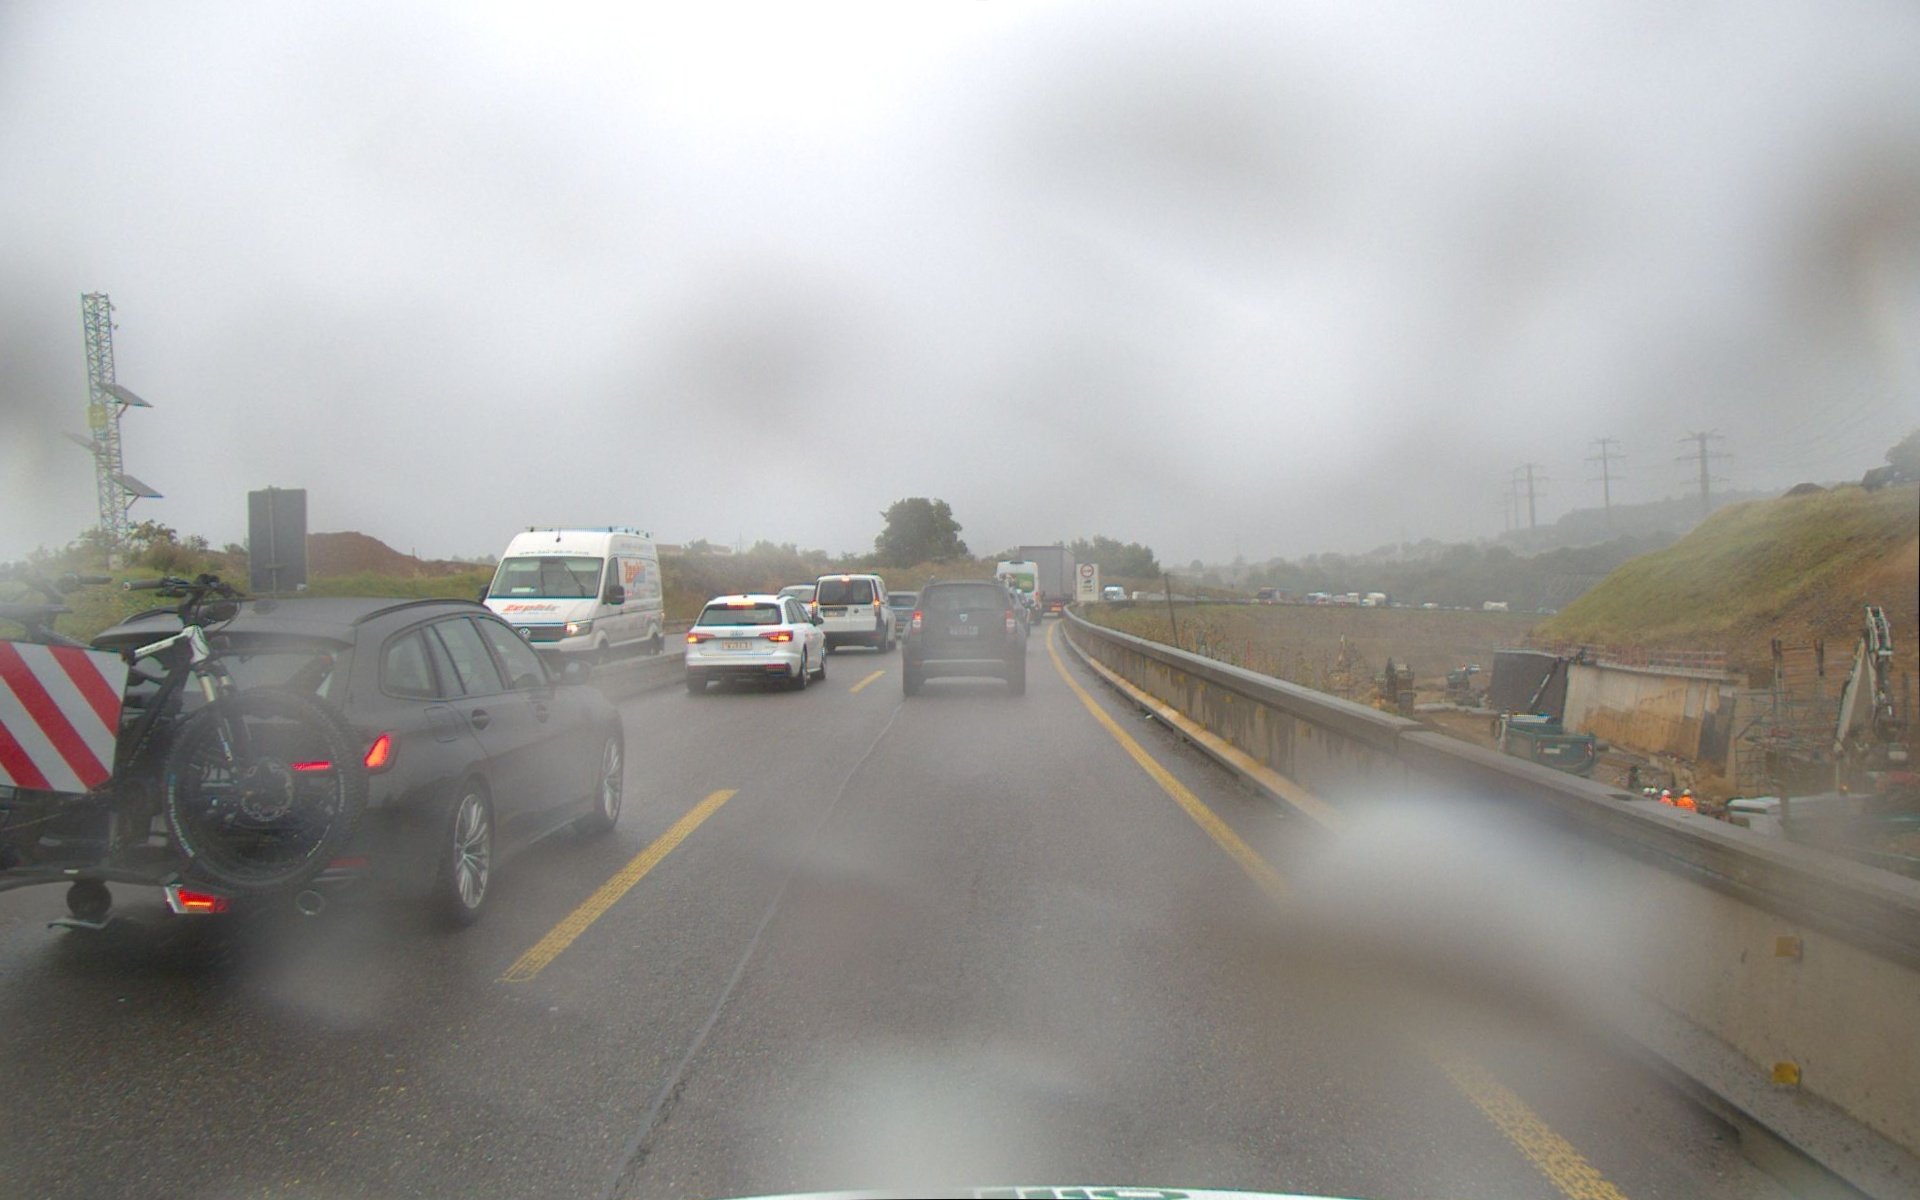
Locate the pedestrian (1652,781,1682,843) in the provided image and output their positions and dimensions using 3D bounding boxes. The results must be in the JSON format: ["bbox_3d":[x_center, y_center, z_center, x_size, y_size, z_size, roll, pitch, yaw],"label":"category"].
[{"bbox_3d":[23.555,7.059,55.120,0.566,1.978,0.729,1,-1,-25],"label":"pedestrian"}]

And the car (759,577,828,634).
[{"bbox_3d":[-5.357,0.154,53.600,1.753,1.754,4.288,0,0,1],"label":"car"}]

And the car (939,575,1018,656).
[{"bbox_3d":[0.473,0.364,40.001,1.788,1.847,4.000,0,-1,1],"label":"car"}]

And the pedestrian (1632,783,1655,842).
[{"bbox_3d":[23.077,7.161,55.876,0.561,1.902,0.736,0,-1,9],"label":"pedestrian"}]

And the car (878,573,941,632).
[{"bbox_3d":[-1.620,0.104,54.135,1.788,1.847,4.001,0,-1,2],"label":"car"}]

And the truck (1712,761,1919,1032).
[{"bbox_3d":[15.877,4.830,27.119,2.645,3.565,8.942,0,-1,-3],"label":"truck"}]

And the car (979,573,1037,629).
[{"bbox_3d":[1.672,0.043,56.614,1.788,1.847,4.002,0,-1,4],"label":"car"}]

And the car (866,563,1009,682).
[{"bbox_3d":[-0.253,0.328,24.719,1.788,1.619,4.002,0,-1,4],"label":"car"}]

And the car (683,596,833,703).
[{"bbox_3d":[-3.058,0.735,25.776,1.789,1.525,4.000,0,-1,0],"label":"car"}]

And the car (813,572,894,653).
[{"bbox_3d":[-2.520,0.310,39.922,1.789,1.847,3.999,0,-1,-1],"label":"car"}]

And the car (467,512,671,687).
[{"bbox_3d":[-6.402,-0.048,27.866,1.982,2.593,5.958,-1,1,0],"label":"car"}]

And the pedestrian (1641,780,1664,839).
[{"bbox_3d":[23.742,7.173,56.717,0.564,1.902,0.732,0,-1,39],"label":"pedestrian"}]

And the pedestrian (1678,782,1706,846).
[{"bbox_3d":[24.166,7.059,54.582,0.722,1.978,0.572,0,-1,41],"label":"pedestrian"}]

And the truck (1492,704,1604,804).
[{"bbox_3d":[25.221,6.504,71.384,2.671,3.552,9.071,0,-1,7],"label":"truck"}]

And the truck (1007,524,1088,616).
[{"bbox_3d":[5.318,-1.649,98.226,3.468,5.166,10.450,0,-1,10],"label":"truck"}]

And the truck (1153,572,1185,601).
[{"bbox_3d":[27.851,-1.829,220.151,3.398,3.780,8.425,-1,0,13],"label":"truck"}]

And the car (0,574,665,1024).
[{"bbox_3d":[-2.892,0.652,8.588,1.699,1.488,5.630,0,2,0],"label":"car"}]

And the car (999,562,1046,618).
[{"bbox_3d":[2.847,-0.422,74.551,1.787,2.480,4.161,0,-1,7],"label":"car"}]
